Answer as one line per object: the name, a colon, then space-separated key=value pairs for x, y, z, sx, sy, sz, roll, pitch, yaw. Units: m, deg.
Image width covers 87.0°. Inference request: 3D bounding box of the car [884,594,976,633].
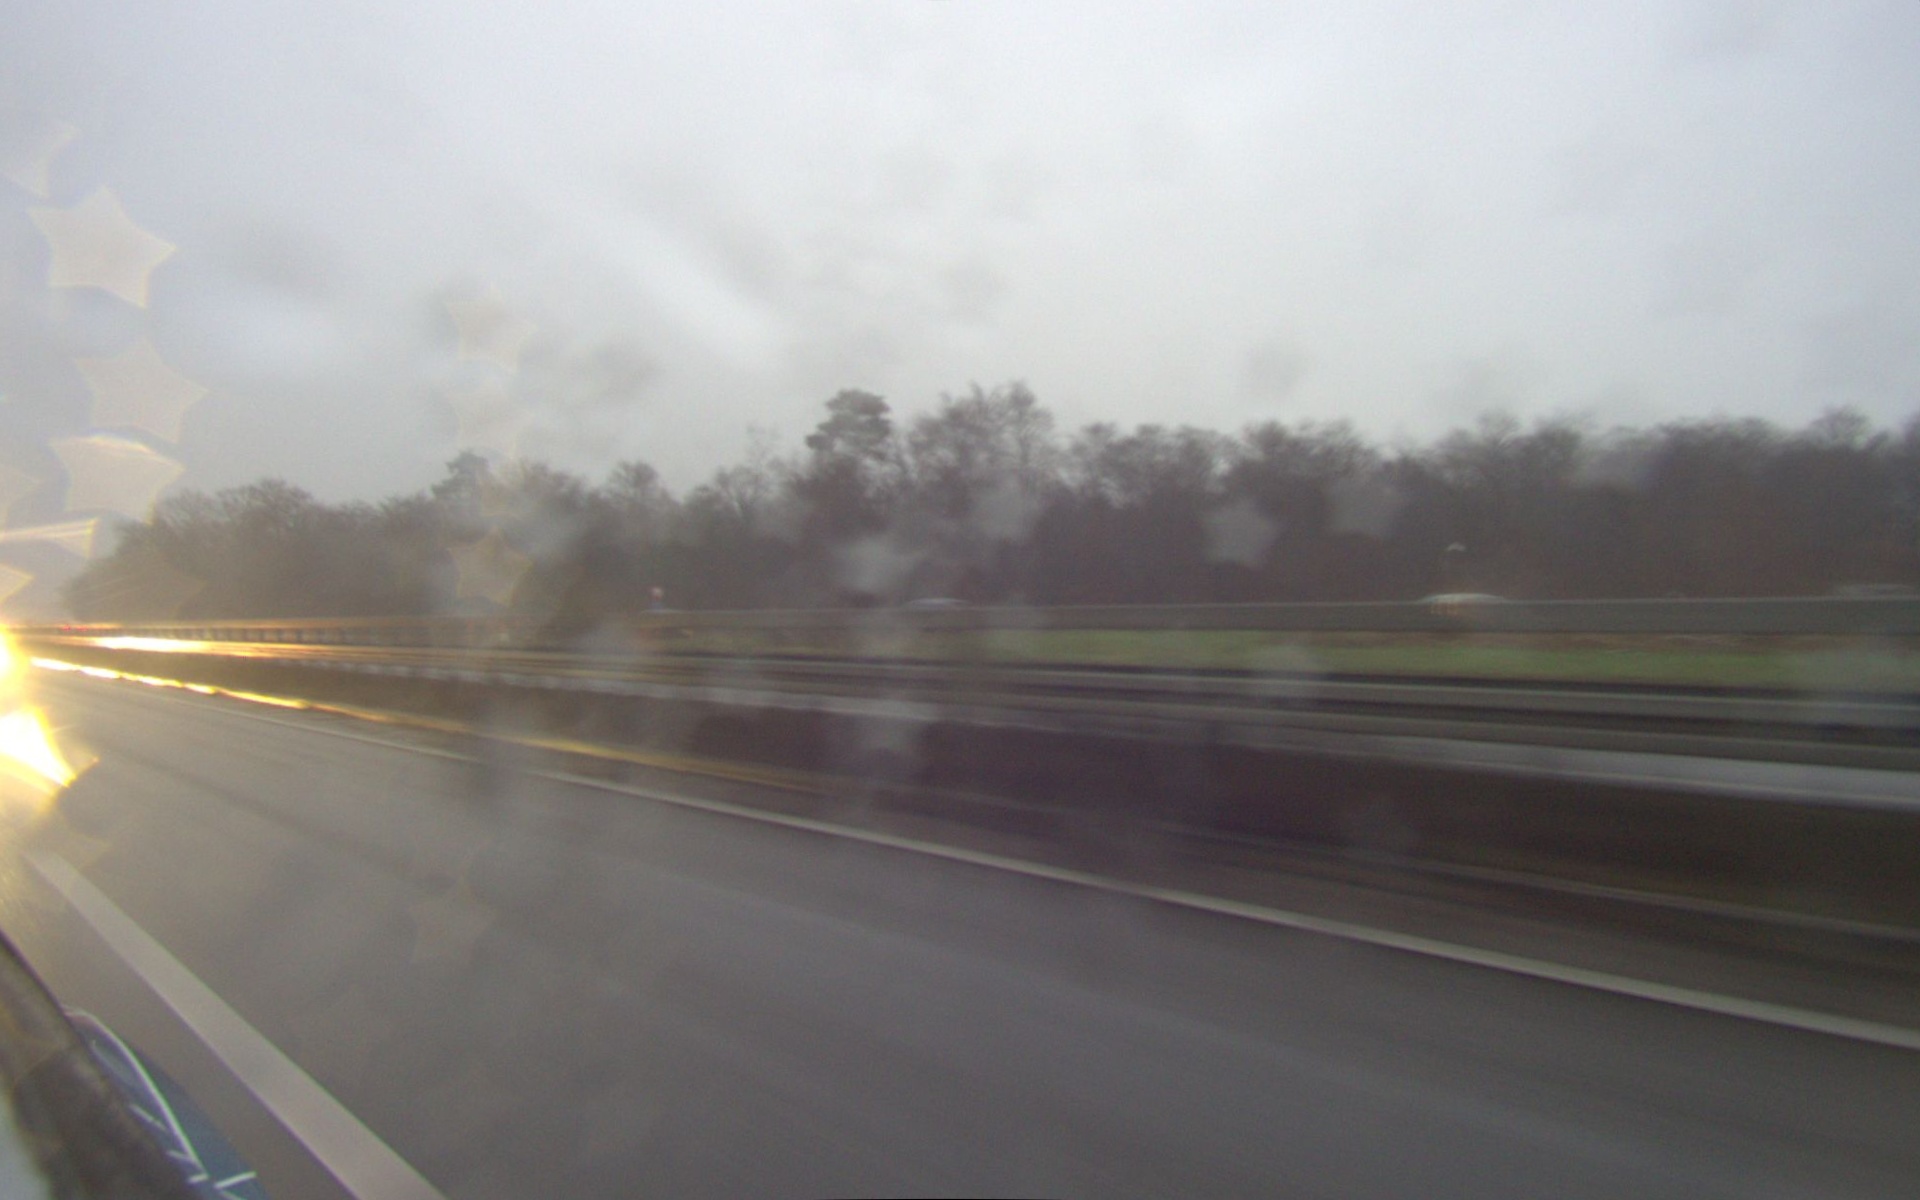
car: x=-1.382 y=0.643 z=47.433 sx=3.957 sy=1.724 sz=1.993 roll=-1 pitch=0 yaw=11
